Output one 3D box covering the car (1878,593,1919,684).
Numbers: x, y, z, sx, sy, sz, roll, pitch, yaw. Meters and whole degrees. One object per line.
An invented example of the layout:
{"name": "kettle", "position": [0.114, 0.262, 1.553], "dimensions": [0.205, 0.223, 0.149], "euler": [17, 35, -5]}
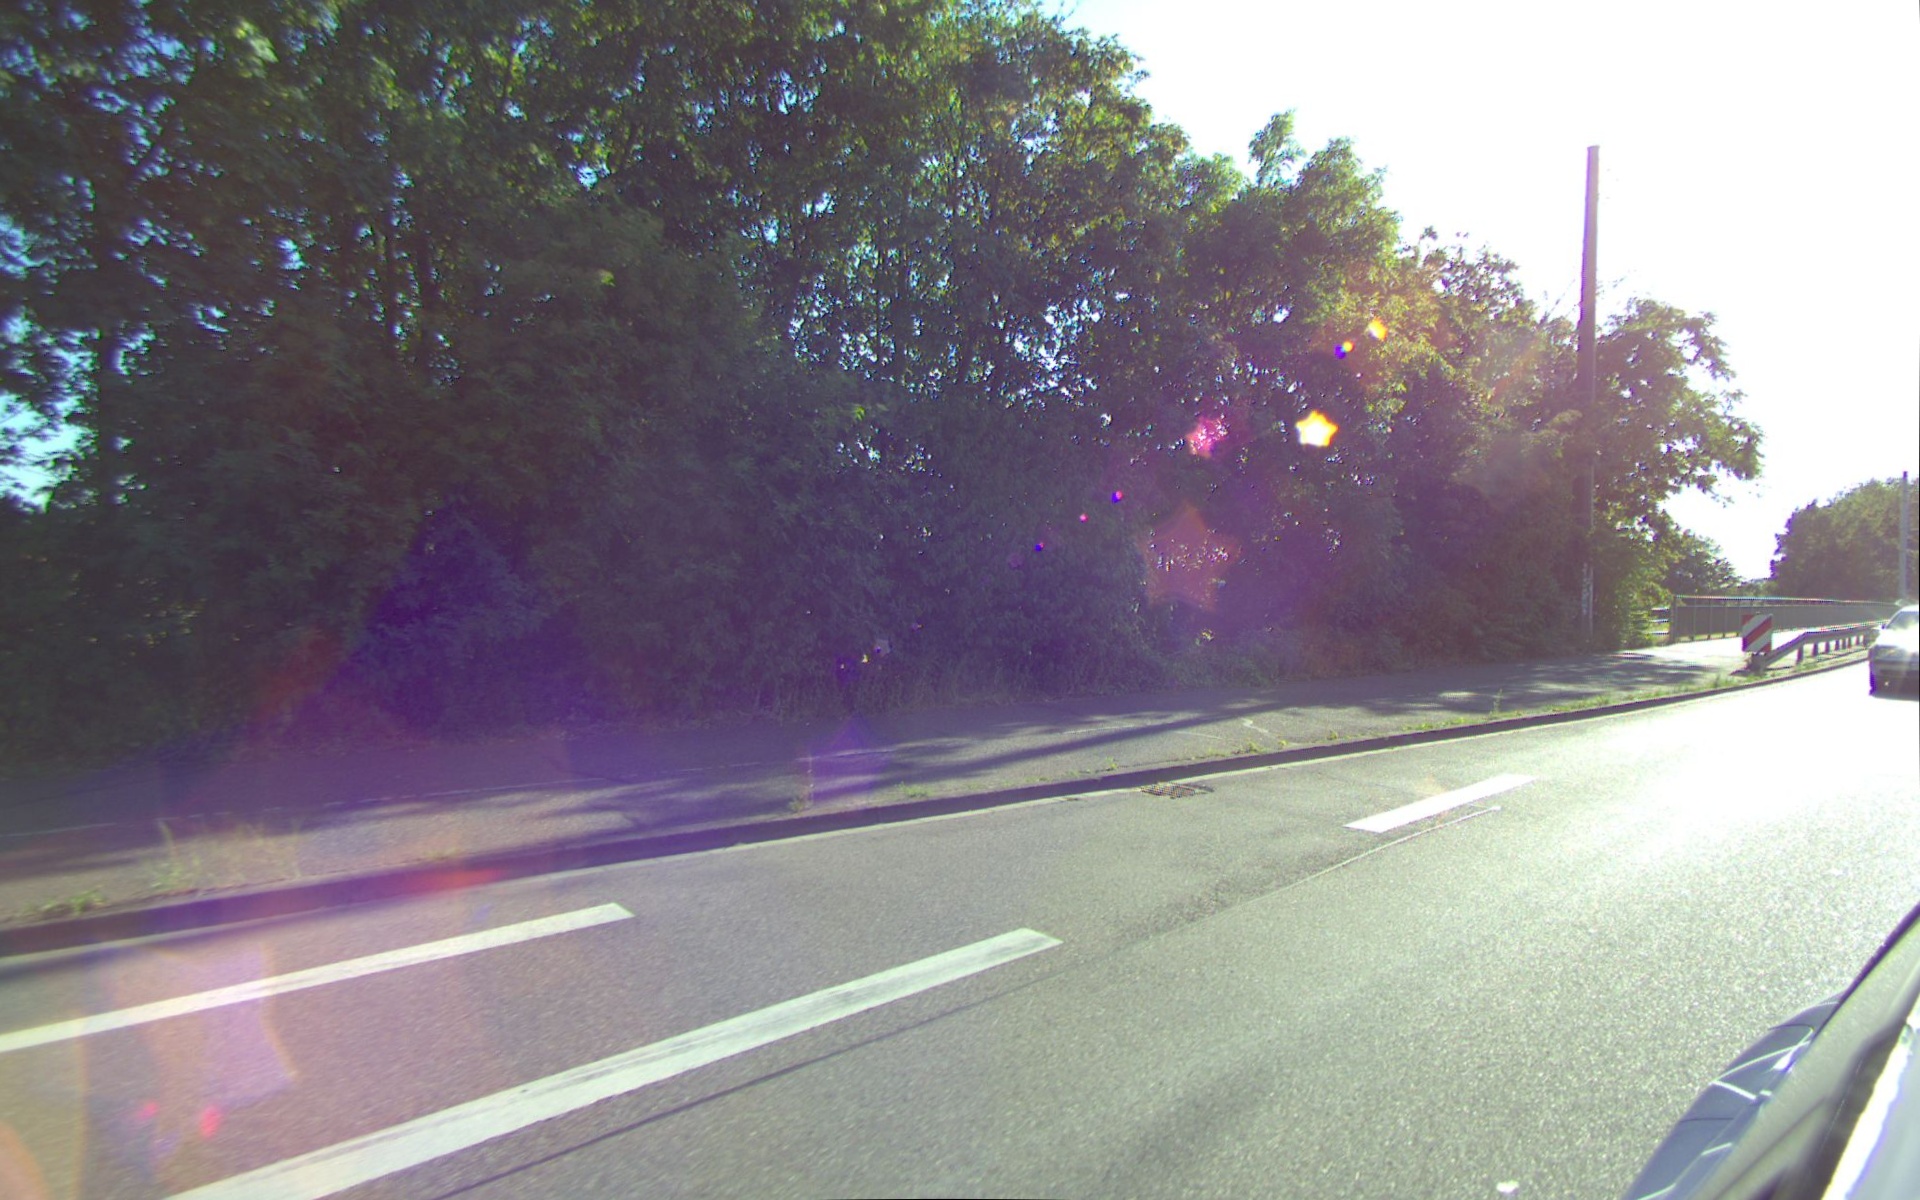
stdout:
{"name": "car", "position": [17.043, 0.608, 17.229], "dimensions": [4.064, 1.435, 1.691], "euler": [-1, 1, -42]}
